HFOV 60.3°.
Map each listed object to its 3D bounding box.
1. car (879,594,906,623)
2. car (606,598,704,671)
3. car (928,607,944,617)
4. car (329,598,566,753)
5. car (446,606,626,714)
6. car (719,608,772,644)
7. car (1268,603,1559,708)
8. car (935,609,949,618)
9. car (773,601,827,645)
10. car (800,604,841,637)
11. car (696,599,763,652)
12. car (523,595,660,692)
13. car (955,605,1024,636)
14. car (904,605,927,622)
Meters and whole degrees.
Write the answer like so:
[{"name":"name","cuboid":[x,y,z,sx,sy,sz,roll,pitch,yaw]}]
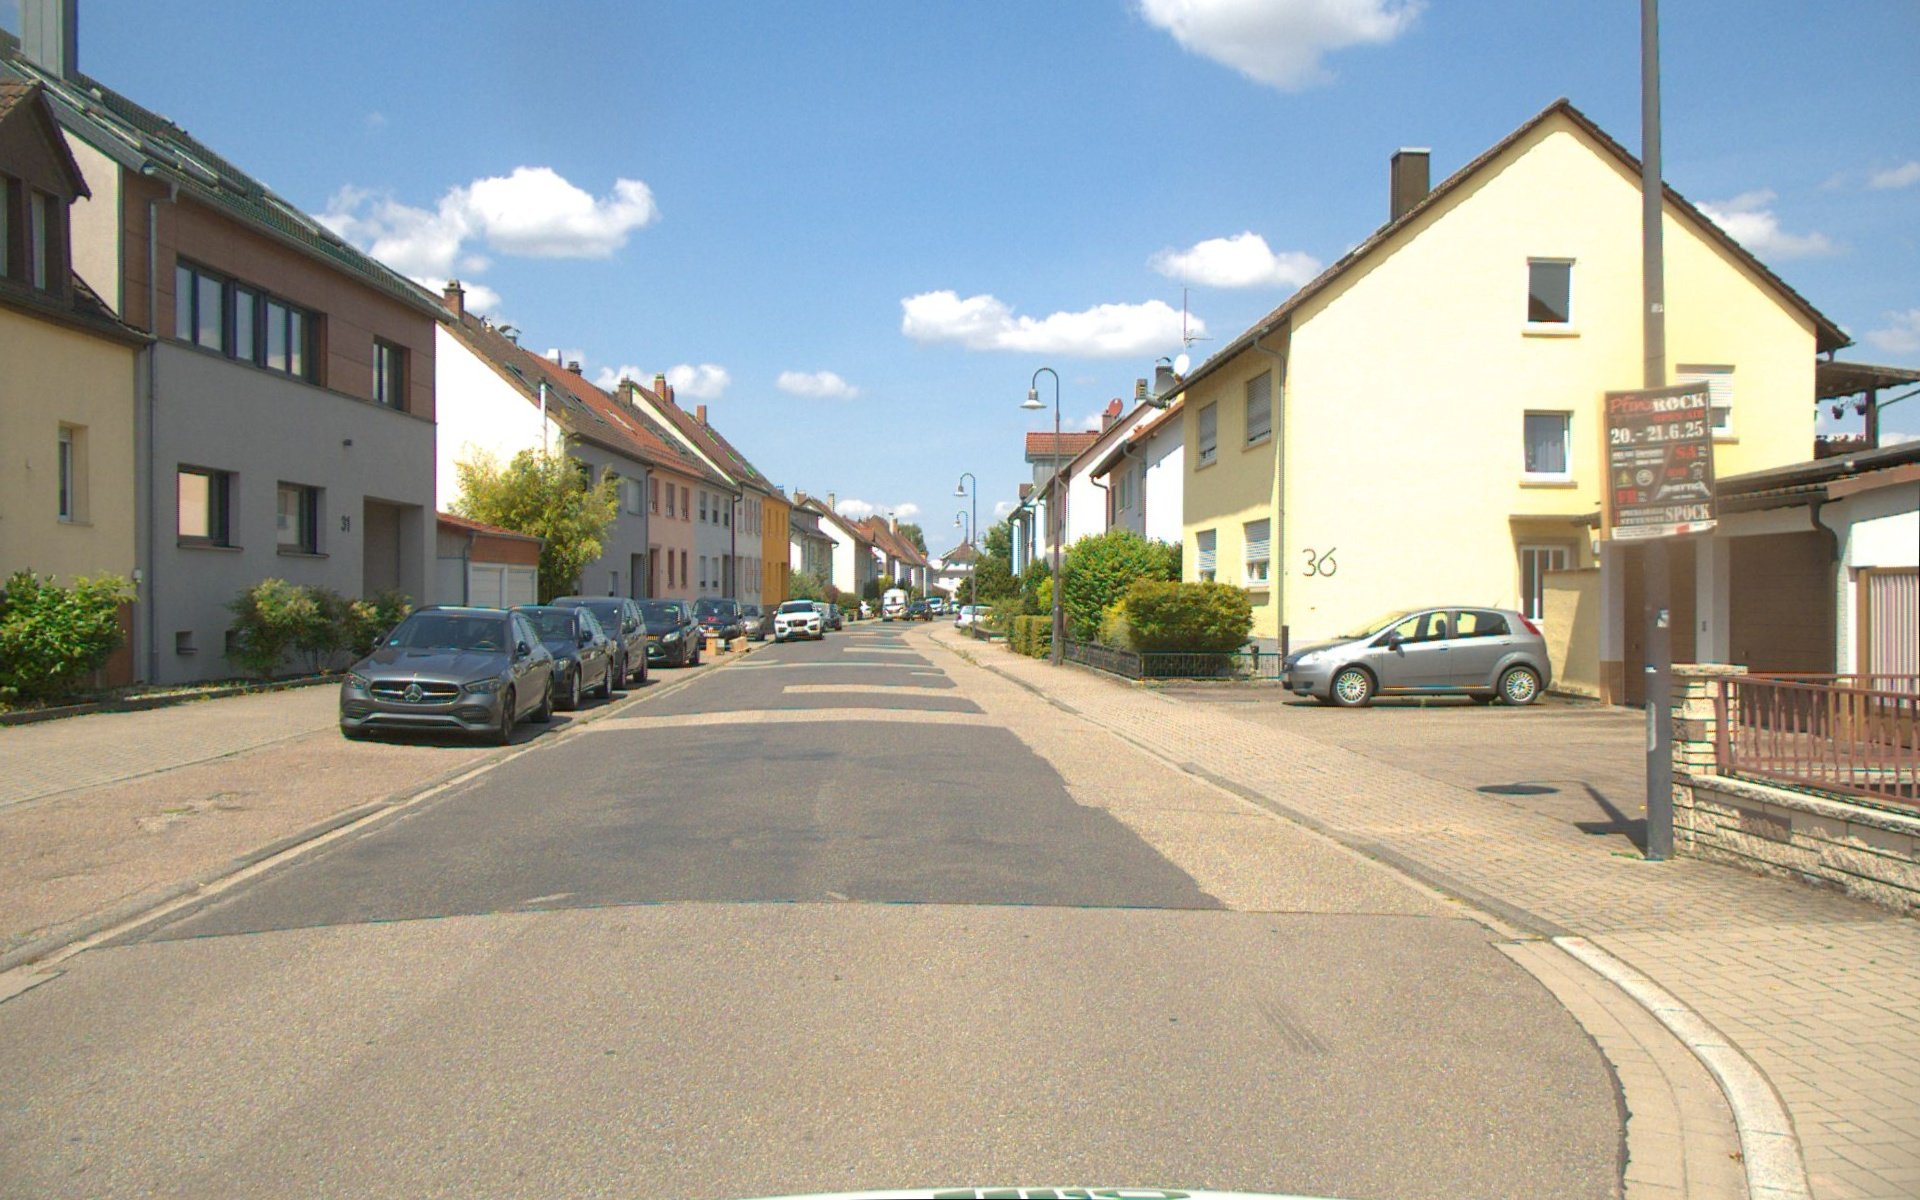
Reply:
[{"name":"car","cuboid":[-5.668,0.697,138.693,2.003,2.352,3.771,2,-1,1]},{"name":"car","cuboid":[-7.433,0.825,40.662,1.743,1.637,3.998,2,0,-2]},{"name":"car","cuboid":[-2.772,1.396,191.285,1.656,1.152,3.771,2,-1,1]},{"name":"car","cuboid":[-5.964,0.813,19.733,1.781,1.458,4.135,4,1,-5]},{"name":"car","cuboid":[-6.383,0.851,25.346,1.780,1.459,4.137,2,0,-2]},{"name":"car","cuboid":[-8.724,1.052,67.570,1.638,1.359,3.722,2,0,0]},{"name":"car","cuboid":[6.773,0.803,24.957,3.907,1.499,1.745,0,0,-3]},{"name":"car","cuboid":[-2.300,1.708,210.716,1.656,1.152,3.771,2,-1,1]},{"name":"car","cuboid":[-6.608,0.934,68.657,1.812,1.688,4.000,2,0,0]},{"name":"car","cuboid":[-7.510,1.088,89.126,1.812,1.688,4.000,2,0,0]},{"name":"car","cuboid":[-7.694,0.838,55.442,1.774,1.637,3.998,2,0,-2]},{"name":"car","cuboid":[-6.818,0.766,31.002,1.743,1.637,3.998,2,0,-2]},{"name":"car","cuboid":[1.496,1.069,84.908,3.453,1.490,1.627,2,-1,-2]},{"name":"car","cuboid":[-3.614,1.107,135.317,1.656,1.365,3.771,2,-1,1]}]
